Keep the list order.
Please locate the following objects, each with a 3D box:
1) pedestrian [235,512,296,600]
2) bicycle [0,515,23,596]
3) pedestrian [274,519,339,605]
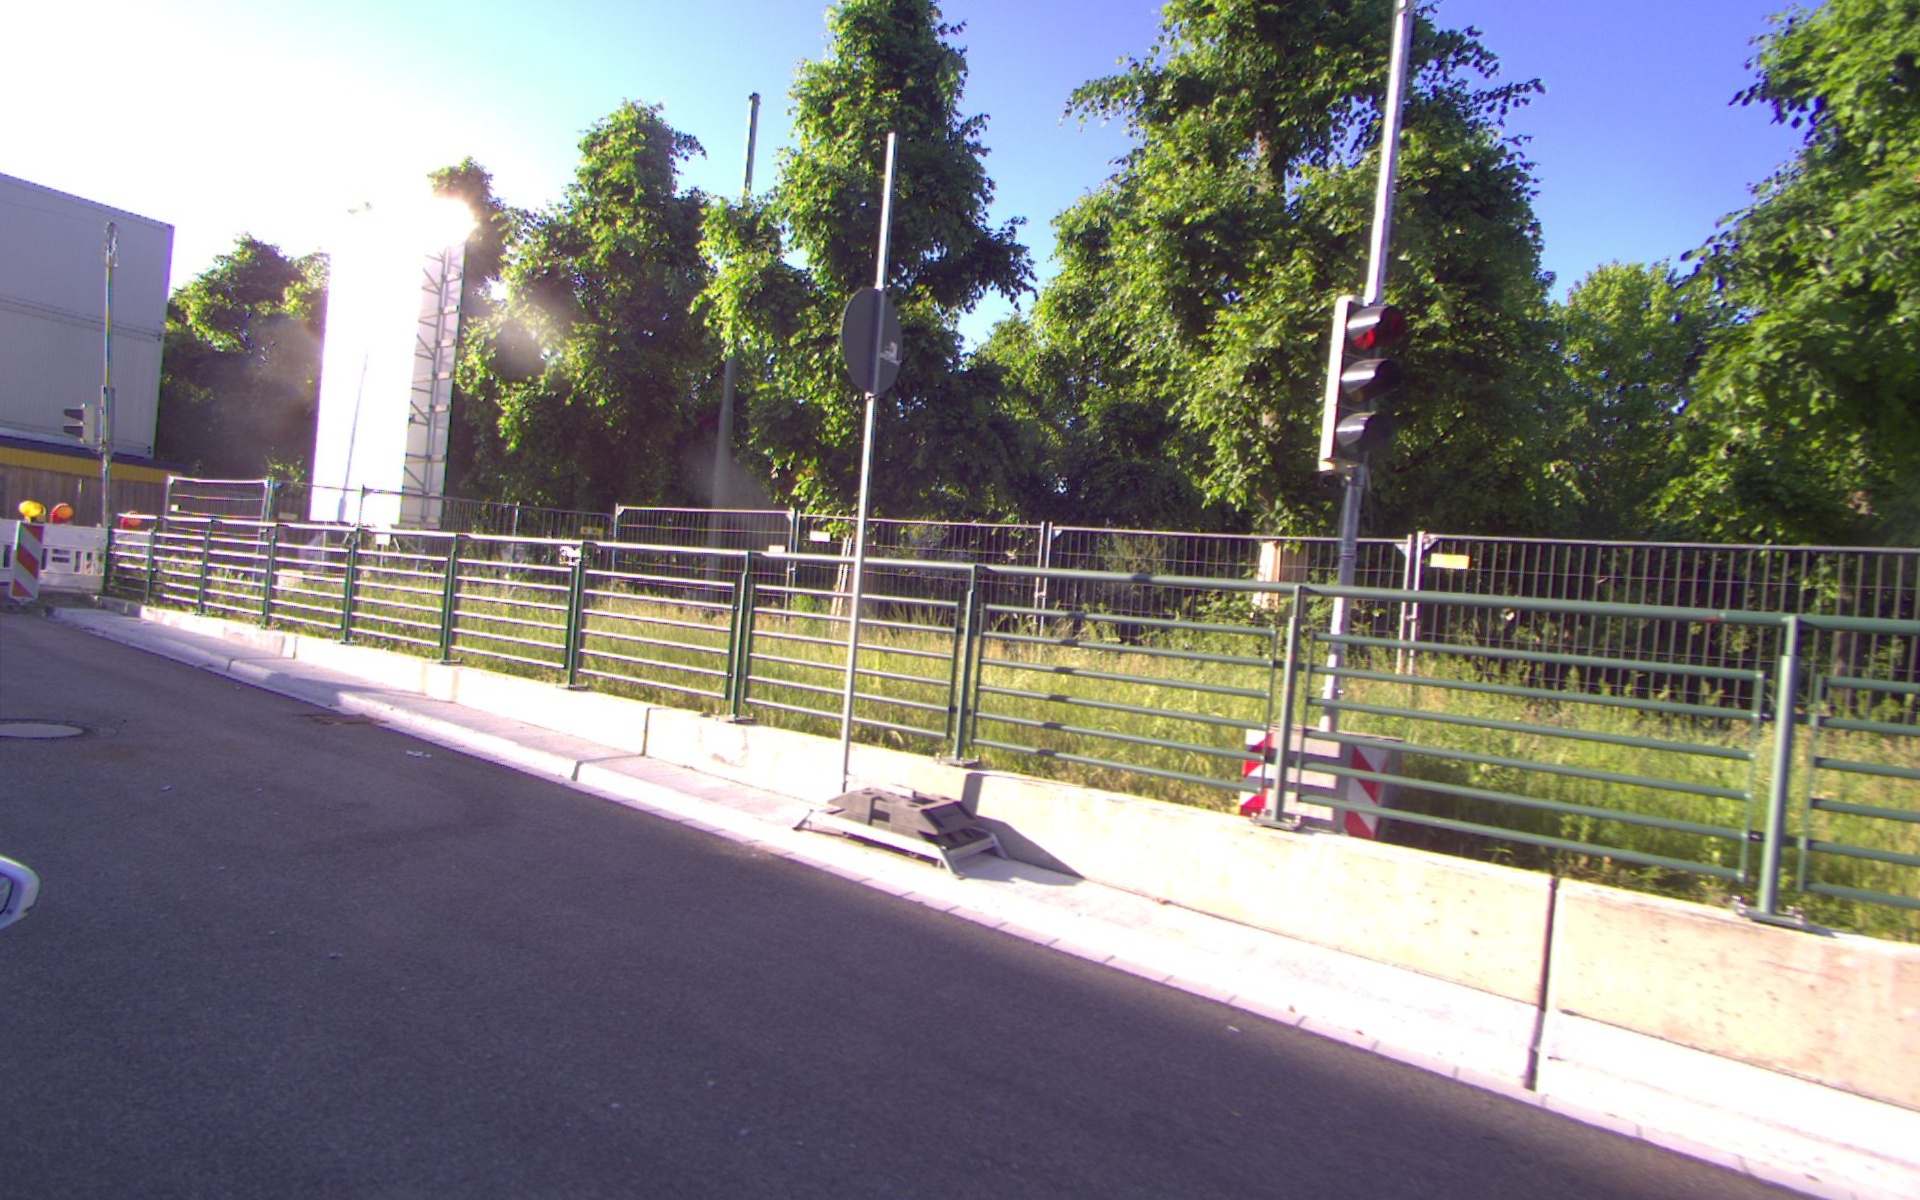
[{"bbox_3d":[-13.426,-0.846,19.456,0.634,1.625,0.736,6,2,38],"label":"pedestrian"},{"bbox_3d":[-15.159,-0.760,14.725,0.470,1.215,1.992,6,-1,37],"label":"bicycle"},{"bbox_3d":[-12.760,-0.730,19.655,0.653,1.586,0.745,5,1,4],"label":"pedestrian"}]
